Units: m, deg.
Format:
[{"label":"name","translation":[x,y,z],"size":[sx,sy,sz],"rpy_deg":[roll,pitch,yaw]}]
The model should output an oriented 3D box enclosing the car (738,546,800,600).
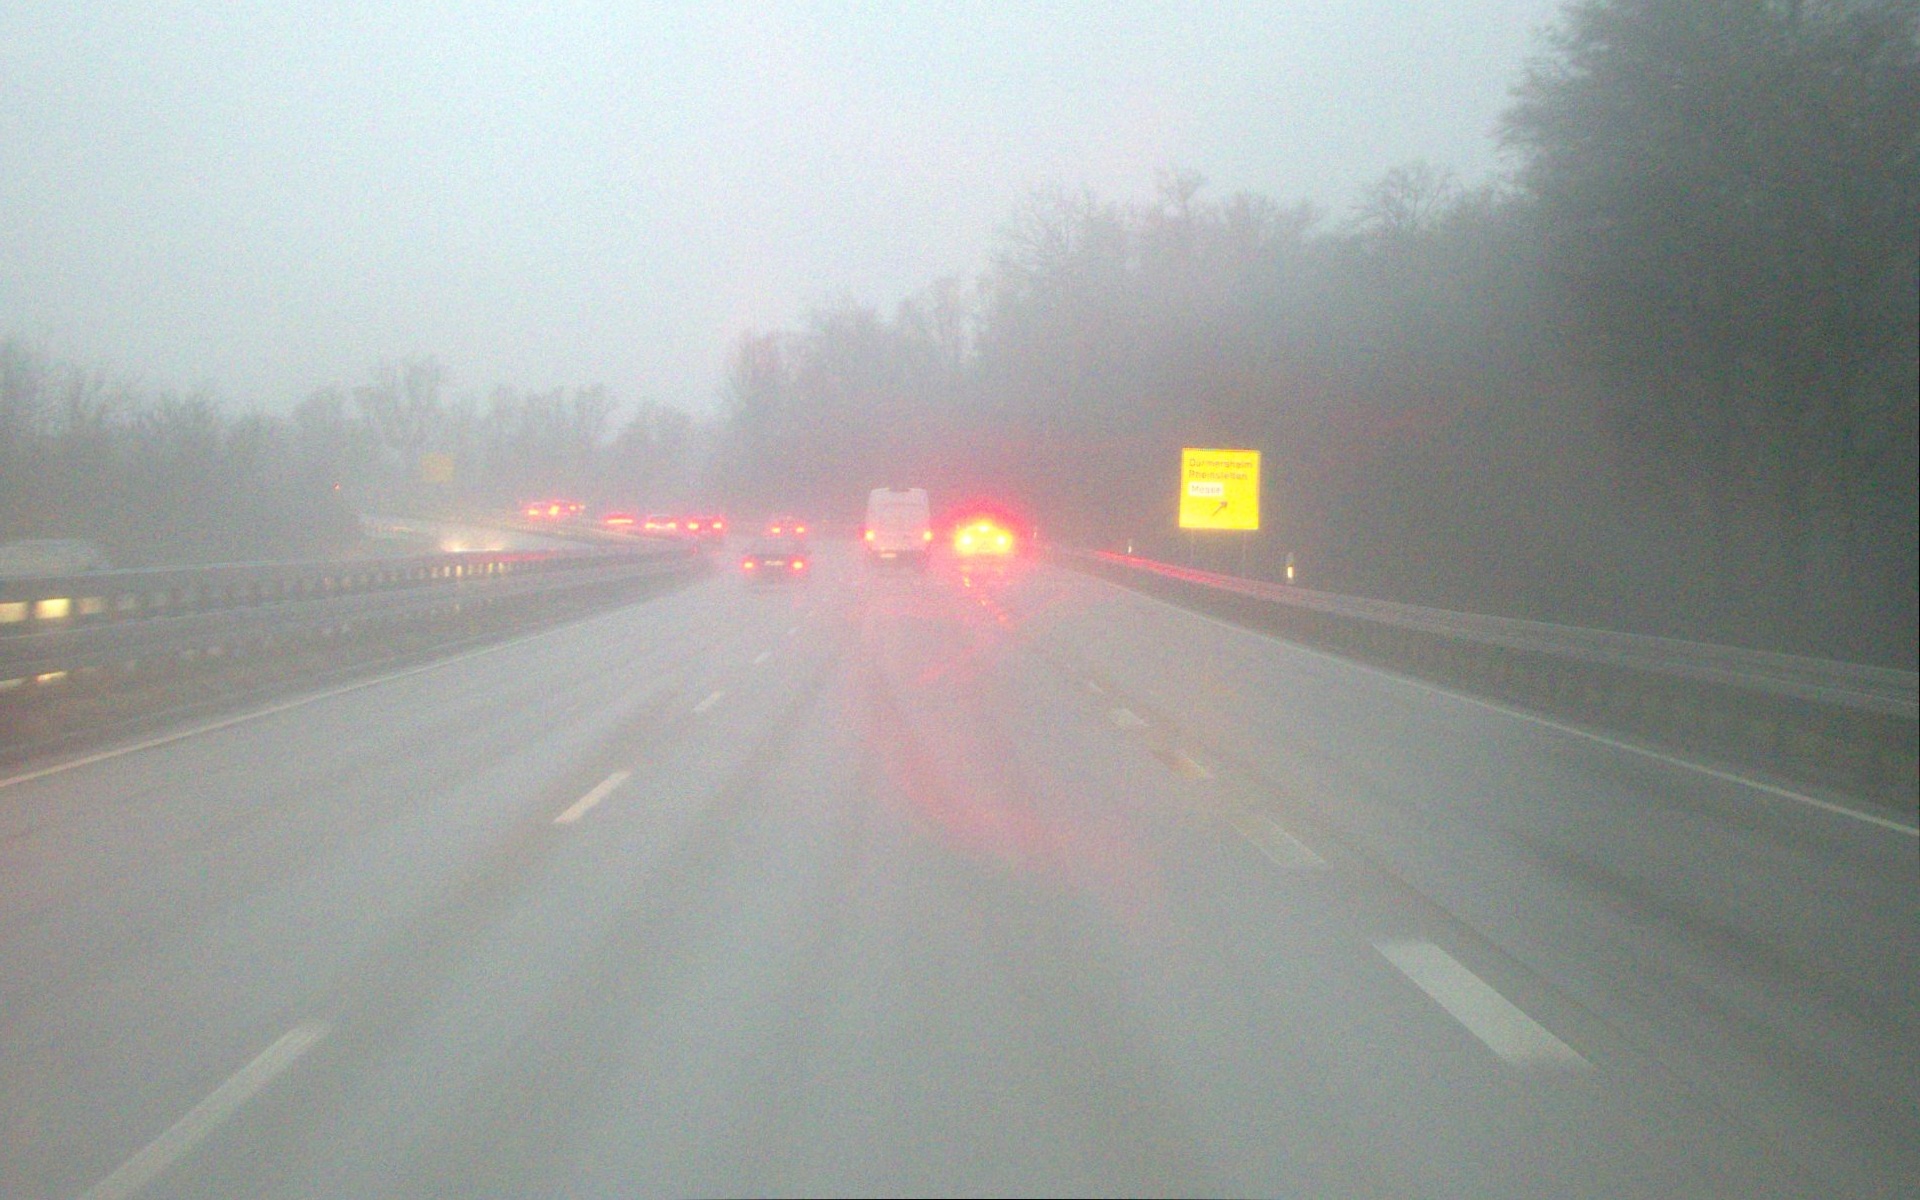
[{"label":"car","translation":[-4.894,-0.714,88.286],"size":[1.416,1.312,3.083],"rpy_deg":[2,1,0]}]
